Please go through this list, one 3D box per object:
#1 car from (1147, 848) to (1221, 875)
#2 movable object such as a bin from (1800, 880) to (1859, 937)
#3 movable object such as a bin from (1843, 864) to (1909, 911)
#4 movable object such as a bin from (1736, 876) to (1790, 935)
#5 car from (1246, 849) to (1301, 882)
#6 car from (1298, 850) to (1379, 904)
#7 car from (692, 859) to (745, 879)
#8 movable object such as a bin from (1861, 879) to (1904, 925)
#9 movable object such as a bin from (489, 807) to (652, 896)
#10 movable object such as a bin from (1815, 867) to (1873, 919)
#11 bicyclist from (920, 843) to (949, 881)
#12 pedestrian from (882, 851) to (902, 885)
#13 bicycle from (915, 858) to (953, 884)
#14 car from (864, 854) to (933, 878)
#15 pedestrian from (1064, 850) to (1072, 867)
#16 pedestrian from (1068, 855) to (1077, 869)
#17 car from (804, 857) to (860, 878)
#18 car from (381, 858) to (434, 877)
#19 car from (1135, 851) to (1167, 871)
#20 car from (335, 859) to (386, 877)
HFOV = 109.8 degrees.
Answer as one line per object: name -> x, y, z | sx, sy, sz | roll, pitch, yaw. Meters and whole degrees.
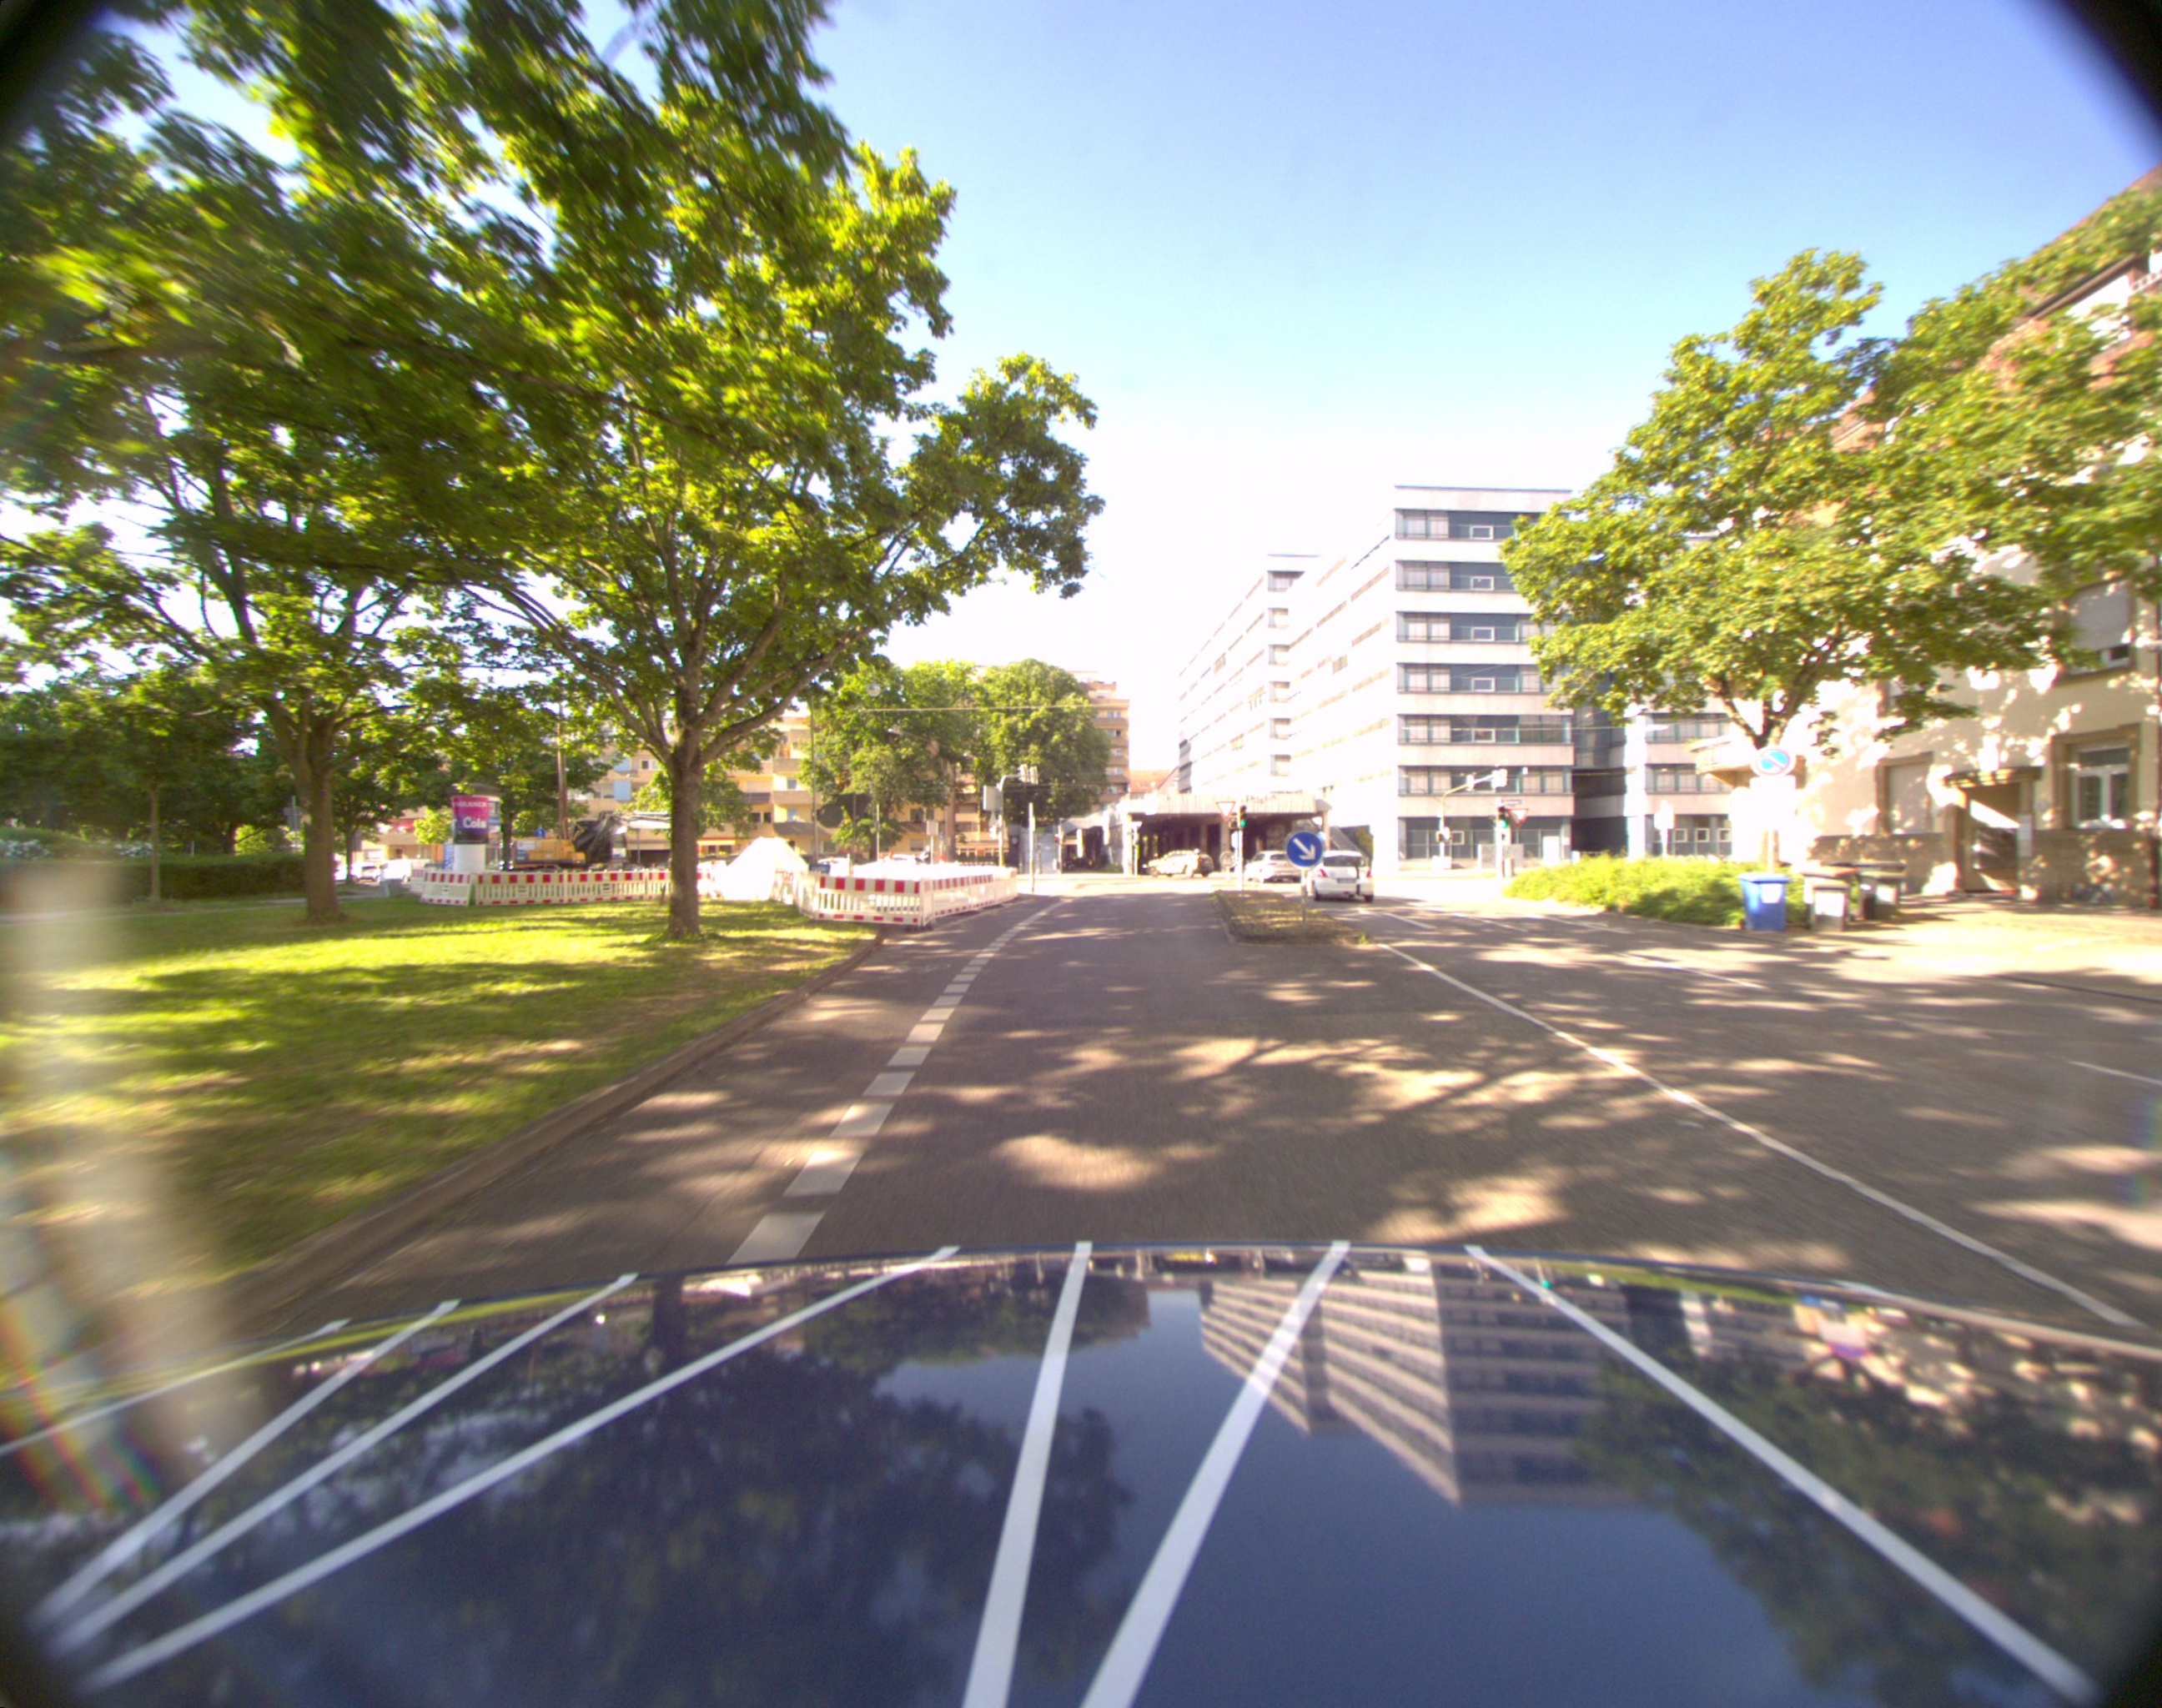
car -> 6.153, 0.434, 45.705 | 1.797, 1.505, 4.104 | -1, 0, -45
movable object such as a bin -> 13.341, 0.959, 13.558 | 0.514, 0.970, 0.639 | -1, 1, 18
movable object such as a bin -> 17.565, 0.732, 16.807 | 0.784, 0.994, 0.639 | -1, 1, 17
movable object such as a bin -> 12.508, 0.933, 13.950 | 0.514, 1.041, 0.639 | -1, 1, 18
car -> 8.911, 0.500, 35.503 | 1.712, 1.444, 3.851 | -1, 0, 2
car -> 7.877, 0.637, 23.587 | 1.708, 1.504, 3.865 | 1, 0, 9
car -> -27.446, 1.140, 57.551 | 3.364, 1.452, 1.486 | 0, -1, 11
movable object such as a bin -> 15.321, 0.916, 14.531 | 0.404, 0.849, 0.439 | -1, 1, 18
movable object such as a bin -> -20.838, -0.101, 31.225 | 4.704, 3.344, 2.836 | -2, 1, 6
movable object such as a bin -> 14.121, 0.715, 14.069 | 0.514, 0.907, 0.639 | -1, 1, 18
bicyclist -> -7.305, 0.399, 37.851 | 1.094, 1.820, 0.915 | 0, 0, 16
pedestrian -> -9.027, 0.645, 36.252 | 0.638, 1.591, 0.636 | 0, 1, 24
bicycle -> -7.325, 0.828, 37.829 | 1.780, 1.258, 0.655 | 0, 0, 16
car -> -12.826, 0.838, 53.467 | 4.314, 1.610, 1.938 | 0, 1, 14
pedestrian -> -1.229, 0.456, 73.614 | 0.658, 1.681, 0.589 | -1, 1, -11
pedestrian -> -0.746, 0.745, 68.822 | 0.724, 1.291, 0.589 | -1, 1, -11
car -> -18.136, 0.996, 55.366 | 3.502, 1.522, 1.658 | 0, -1, 11
car -> -60.782, 1.178, 68.582 | 3.869, 1.665, 1.812 | 0, 0, 16
car -> 5.820, 0.569, 63.616 | 1.958, 1.546, 5.039 | -2, 0, -3
car -> -66.295, 1.286, 69.934 | 3.686, 1.545, 1.766 | 0, 1, 16
